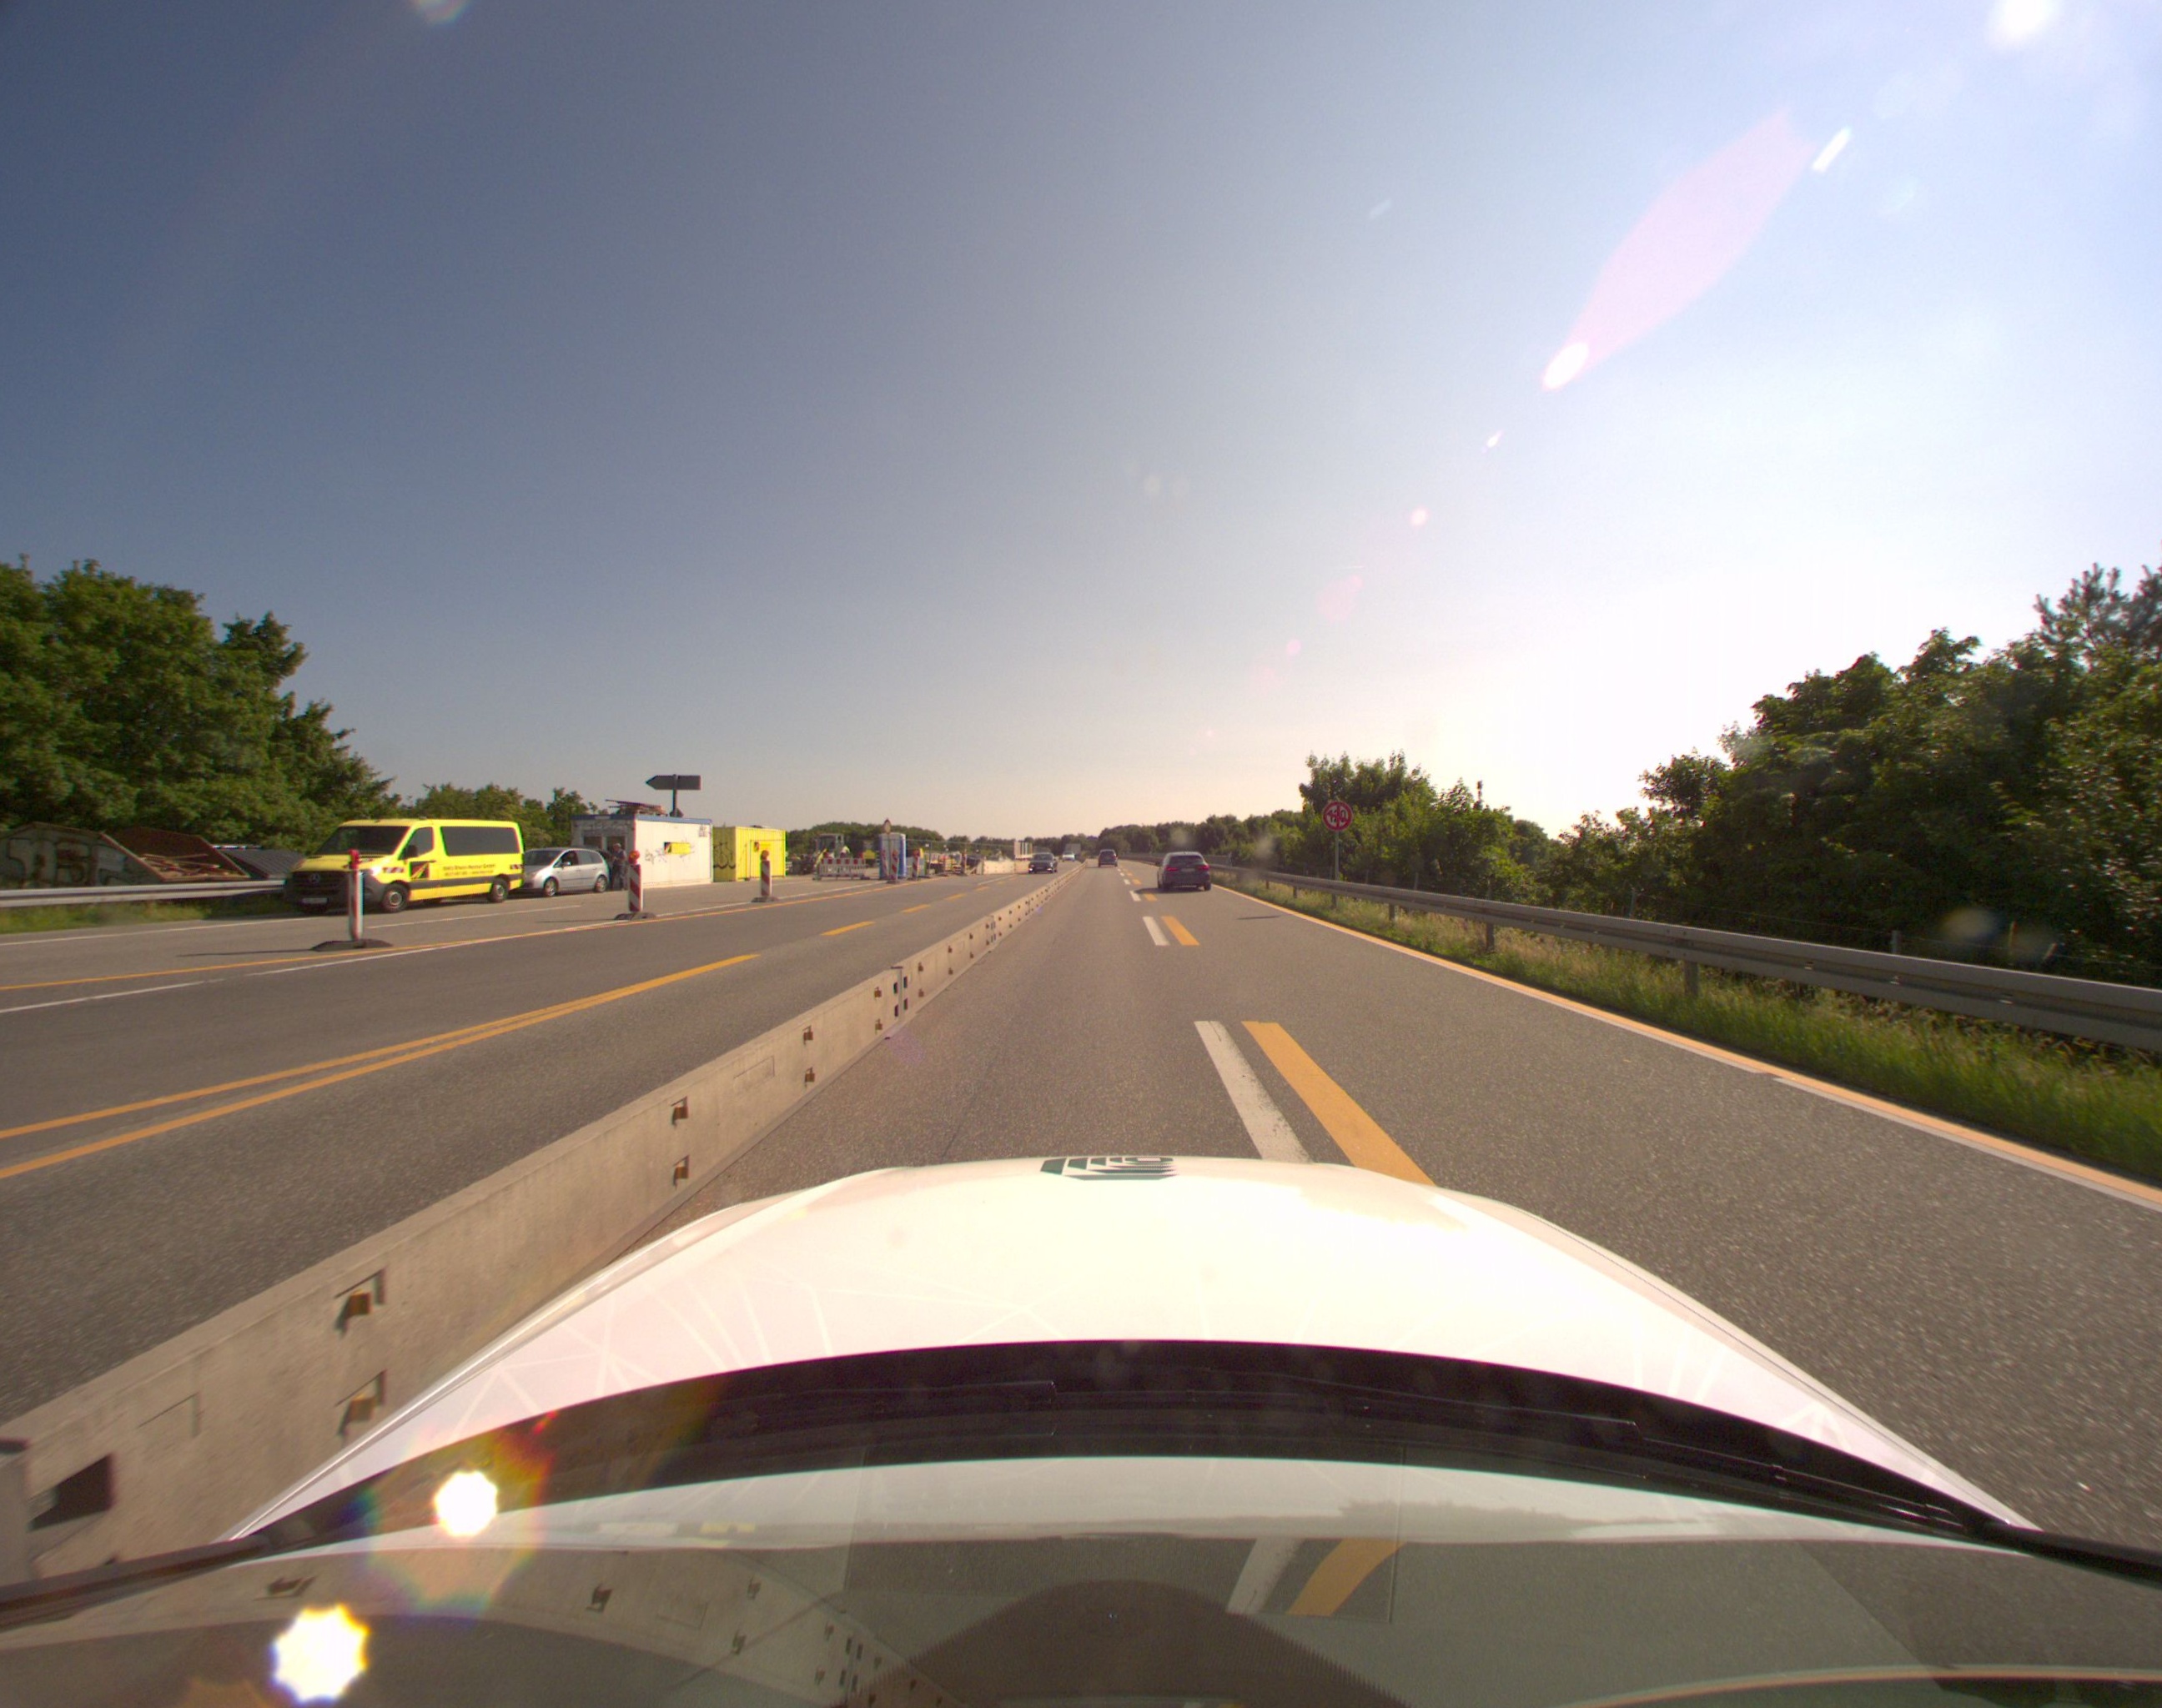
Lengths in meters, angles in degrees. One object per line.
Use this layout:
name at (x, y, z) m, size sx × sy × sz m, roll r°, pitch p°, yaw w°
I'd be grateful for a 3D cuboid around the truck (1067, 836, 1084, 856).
truck at (-1.526, -2.100, 207.654) m, size 3.753 × 4.911 × 14.121 m, roll 0°, pitch 0°, yaw -3°

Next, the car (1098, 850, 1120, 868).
car at (2.656, 0.430, 76.058) m, size 1.985 × 1.567 × 4.003 m, roll -1°, pitch 0°, yaw 3°

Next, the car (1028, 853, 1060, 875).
car at (-2.614, 0.667, 58.441) m, size 1.851 × 1.473 × 4.688 m, roll 0°, pitch 1°, yaw 3°

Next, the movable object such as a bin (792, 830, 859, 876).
movable object such as a bin at (-15.952, -0.084, 51.237) m, size 2.020 × 2.715 × 5.118 m, roll -1°, pitch 0°, yaw 7°

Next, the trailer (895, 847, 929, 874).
trailer at (-11.077, 0.410, 53.612) m, size 1.716 × 1.648 × 3.528 m, roll 1°, pitch 0°, yaw -4°

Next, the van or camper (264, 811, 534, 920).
van or camper at (-17.139, 0.236, 21.094) m, size 1.989 × 2.378 × 6.193 m, roll -1°, pitch 0°, yaw -3°

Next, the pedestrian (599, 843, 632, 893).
pedestrian at (-16.818, 0.500, 29.428) m, size 0.720 × 1.761 × 0.720 m, roll -1°, pitch 0°, yaw 1°

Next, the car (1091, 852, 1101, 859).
car at (3.634, 0.350, 193.327) m, size 1.991 × 1.688 × 3.993 m, roll 0°, pitch 0°, yaw -5°

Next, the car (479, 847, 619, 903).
car at (-17.274, 0.611, 26.743) m, size 1.682 × 1.685 × 4.457 m, roll 0°, pitch 0°, yaw -1°

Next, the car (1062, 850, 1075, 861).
car at (-2.005, 0.181, 128.945) m, size 1.976 × 1.651 × 4.547 m, roll 0°, pitch 0°, yaw -1°

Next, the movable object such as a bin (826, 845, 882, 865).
movable object such as a bin at (-24.124, 0.082, 86.489) m, size 5.347 × 2.116 × 2.249 m, roll 0°, pitch 0°, yaw 20°

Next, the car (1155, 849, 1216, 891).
car at (3.934, 0.568, 31.282) m, size 1.913 × 1.493 × 4.001 m, roll -1°, pitch 0°, yaw 1°
